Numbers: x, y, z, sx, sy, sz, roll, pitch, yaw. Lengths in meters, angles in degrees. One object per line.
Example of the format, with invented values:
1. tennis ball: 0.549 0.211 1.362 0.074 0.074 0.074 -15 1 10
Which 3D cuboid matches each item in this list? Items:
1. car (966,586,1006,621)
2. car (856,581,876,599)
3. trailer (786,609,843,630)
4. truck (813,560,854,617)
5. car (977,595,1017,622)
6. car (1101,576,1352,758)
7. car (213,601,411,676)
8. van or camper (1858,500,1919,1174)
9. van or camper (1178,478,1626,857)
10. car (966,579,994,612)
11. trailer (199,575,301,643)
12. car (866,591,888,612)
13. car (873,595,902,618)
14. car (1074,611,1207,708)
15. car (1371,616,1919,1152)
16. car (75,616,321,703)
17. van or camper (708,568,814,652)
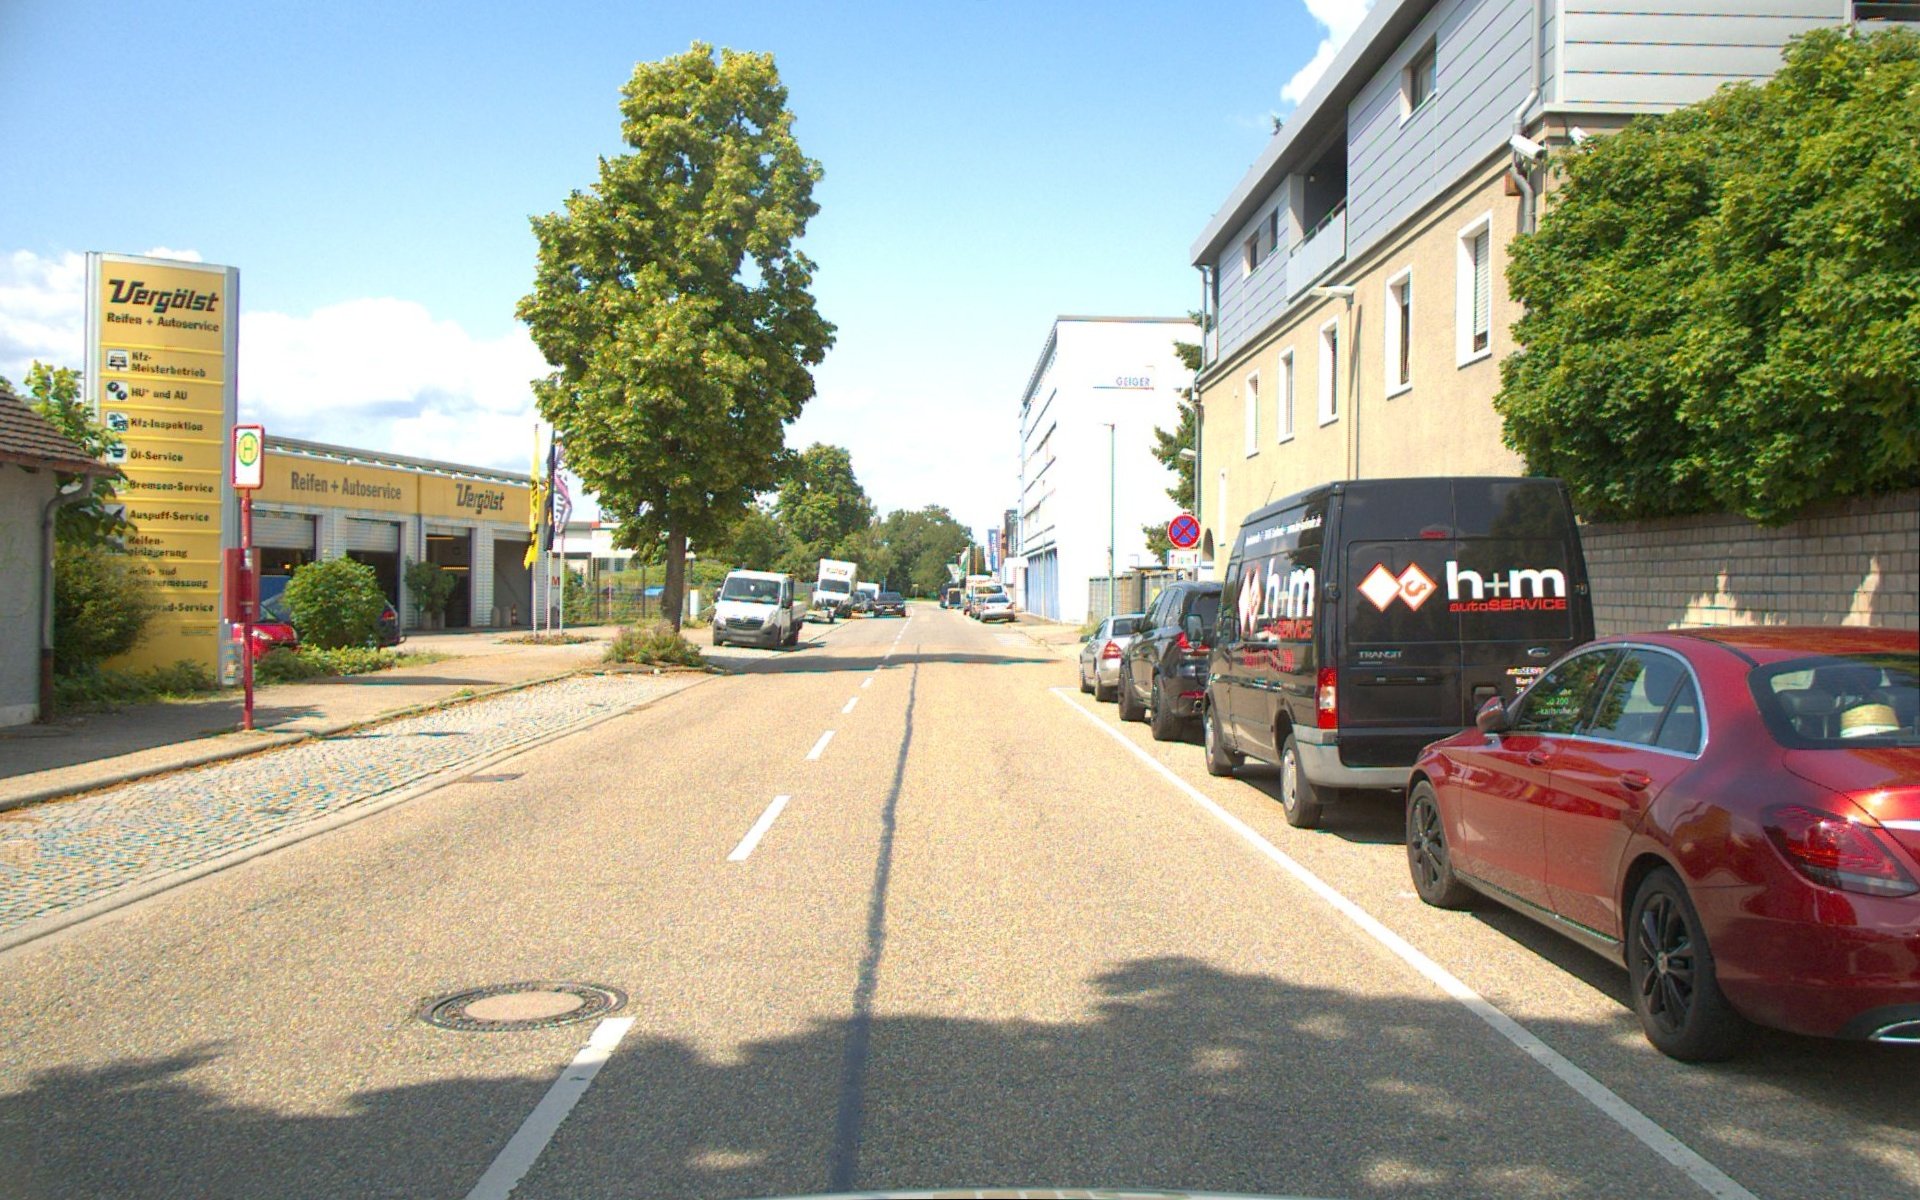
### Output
1. car: 1.529 0.196 98.833 2.171 2.049 5.484 0 0 -1
2. car: -9.955 -1.059 175.014 1.953 1.847 3.999 0 0 -1
3. trailer: -7.211 0.965 82.555 2.368 0.828 5.536 3 0 -1
4. truck: -7.363 -0.643 96.775 1.988 3.209 6.498 0 0 -1
5. car: 1.856 0.433 84.887 1.889 1.333 3.999 0 0 -1
6. car: 2.963 0.687 19.501 1.921 1.812 4.952 2 0 -2
7. car: -13.451 0.769 34.508 3.733 1.401 1.868 -1 1 -20
8. van or camper: 3.504 0.661 2.023 1.723 1.837 5.586 1 0 0
9. van or camper: 3.158 0.425 13.178 1.953 2.331 5.446 2 0 -1
10. car: 1.281 -0.314 109.228 1.673 2.126 3.999 0 0 -2
11. trailer: -18.113 0.206 42.246 1.341 1.678 2.207 1 0 14
12. car: -6.807 0.122 136.403 1.678 1.679 3.999 0 0 -1
13. car: -4.273 0.368 97.802 1.621 1.348 4.415 0 0 -1
14. car: 2.784 0.881 26.211 1.596 1.377 3.923 0 0 -1
15. car: 3.232 0.846 7.098 1.647 1.467 4.765 1 0 -1
16. car: -13.818 1.041 30.060 3.754 1.447 1.732 1 0 11
17. van or camper: -6.207 0.284 52.577 2.128 2.455 7.699 1 0 2
